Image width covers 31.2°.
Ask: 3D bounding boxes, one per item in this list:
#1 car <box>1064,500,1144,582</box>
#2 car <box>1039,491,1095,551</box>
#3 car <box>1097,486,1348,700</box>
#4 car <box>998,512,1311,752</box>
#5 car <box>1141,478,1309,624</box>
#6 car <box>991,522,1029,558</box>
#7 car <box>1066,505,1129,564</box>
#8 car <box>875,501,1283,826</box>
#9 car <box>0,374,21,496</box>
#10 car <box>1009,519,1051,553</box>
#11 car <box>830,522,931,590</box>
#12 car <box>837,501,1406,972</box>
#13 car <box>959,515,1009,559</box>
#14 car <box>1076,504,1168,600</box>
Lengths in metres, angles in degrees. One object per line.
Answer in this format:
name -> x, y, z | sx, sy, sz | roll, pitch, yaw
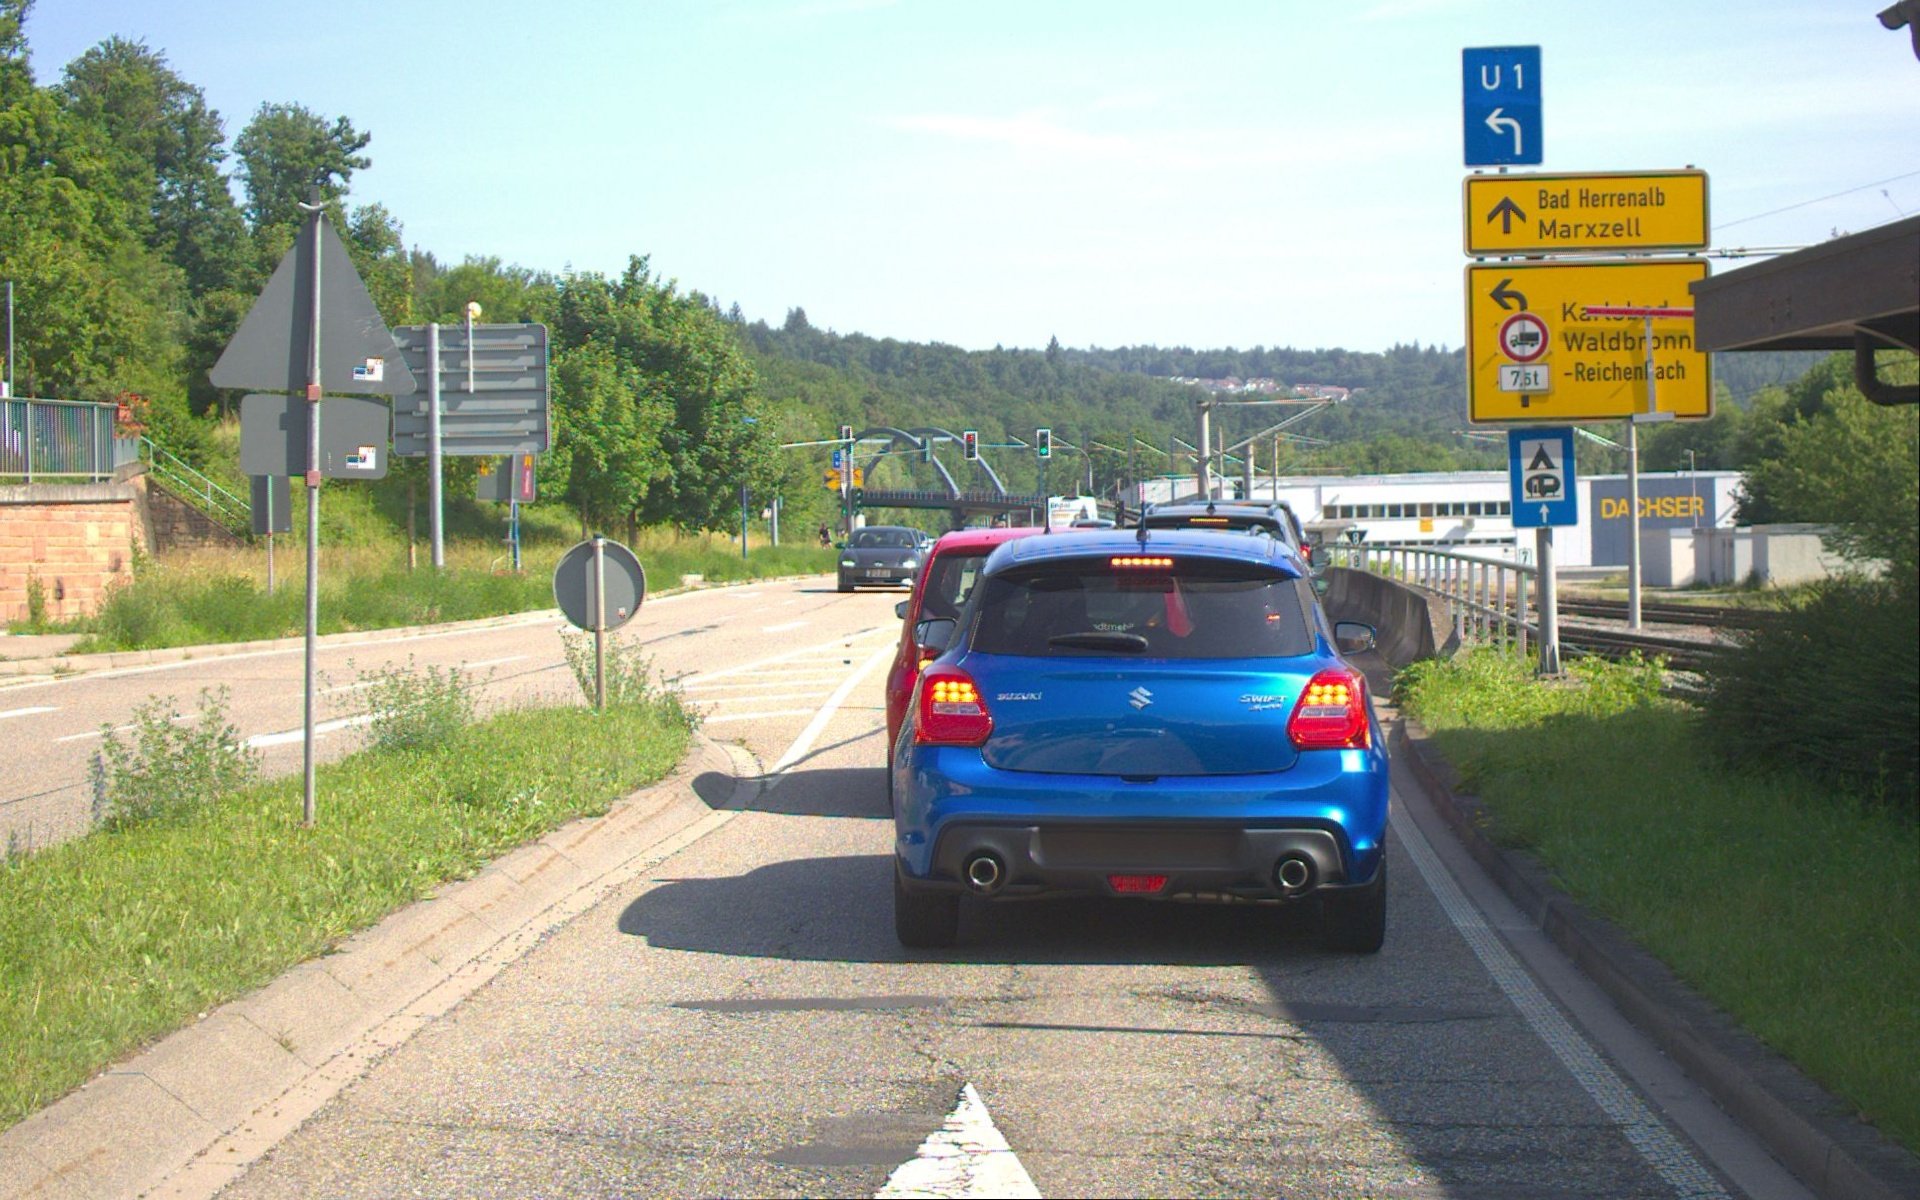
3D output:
car -> 3.799, -1.585, 91.082 | 1.993, 2.006, 4.000 | 2, 2, 2
car -> 3.991, -2.938, 128.091 | 1.993, 2.137, 4.720 | 1, 1, 2
car -> 2.282, -0.115, 30.363 | 1.994, 1.680, 4.497 | 2, 2, 4
car -> 1.389, 0.151, 24.317 | 1.994, 1.526, 4.601 | 0, 1, 4
car -> 3.378, -0.660, 44.259 | 1.994, 1.730, 4.000 | 2, 2, 4
car -> 2.864, -3.428, 196.304 | 1.993, 2.007, 4.001 | 1, 2, -1
car -> 4.563, -2.194, 114.058 | 1.993, 1.810, 4.000 | 2, 2, 2
car -> 0.711, 0.276, 19.075 | 1.994, 1.566, 4.000 | 1, 1, 4
car -> -15.938, -2.570, 52.875 | 2.020, 1.913, 4.733 | 2, 2, -5
car -> 3.441, -3.136, 168.432 | 1.993, 1.585, 4.000 | 1, 1, 1
car -> -1.780, -1.021, 78.292 | 1.792, 1.465, 4.715 | 1, 1, 5
car -> 0.577, 0.401, 13.407 | 1.868, 1.542, 4.000 | 1, 1, 1
car -> 1.051, -2.694, 146.743 | 1.993, 1.776, 4.000 | 1, 1, 2
car -> 3.689, -1.132, 79.024 | 1.993, 2.006, 4.000 | 2, 2, 2
